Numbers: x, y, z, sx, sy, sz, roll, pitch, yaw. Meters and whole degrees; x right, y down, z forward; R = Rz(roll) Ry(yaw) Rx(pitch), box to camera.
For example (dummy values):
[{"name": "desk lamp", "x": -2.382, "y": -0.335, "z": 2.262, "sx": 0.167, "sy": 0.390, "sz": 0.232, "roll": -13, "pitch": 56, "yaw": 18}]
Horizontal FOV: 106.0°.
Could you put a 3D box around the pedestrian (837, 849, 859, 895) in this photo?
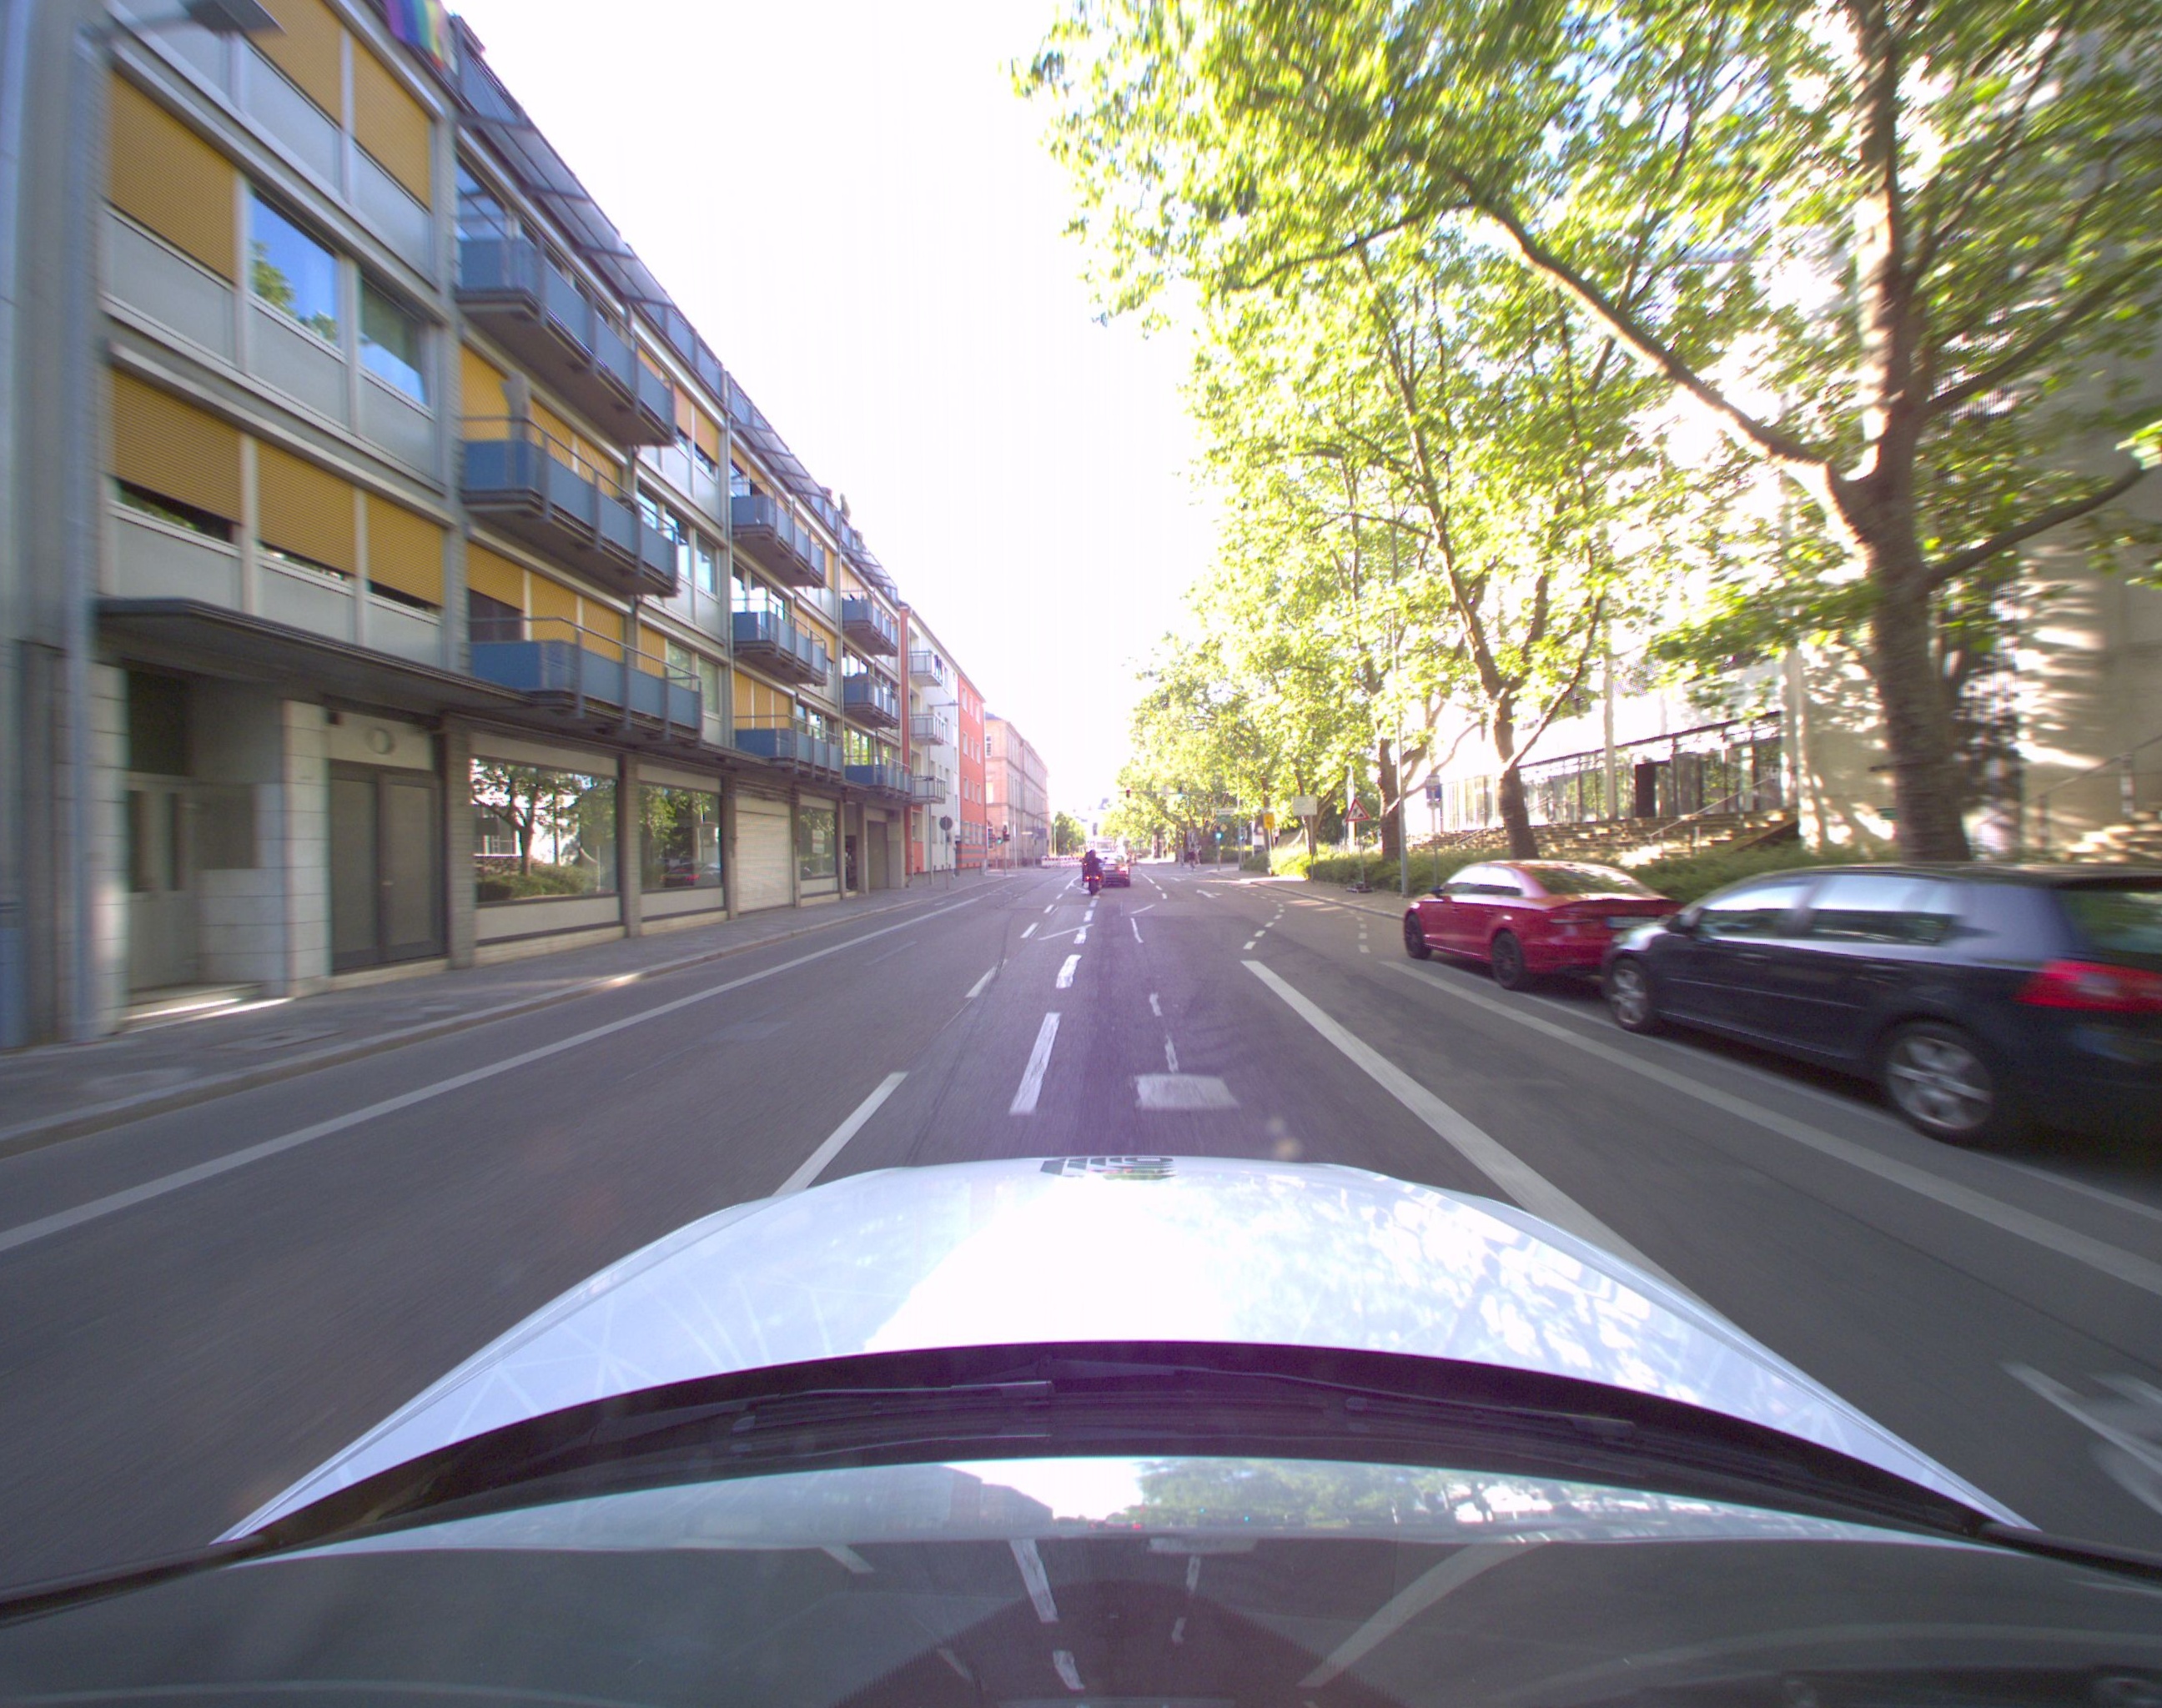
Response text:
[{"name": "pedestrian", "x": -8.190, "y": 0.618, "z": 28.650, "sx": 0.511, "sy": 1.579, "sz": 0.756, "roll": -1, "pitch": 0, "yaw": 1}]

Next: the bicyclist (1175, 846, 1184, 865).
[{"name": "bicyclist", "x": 8.100, "y": 0.117, "z": 66.923, "sx": 0.653, "sy": 1.530, "sz": 0.906, "roll": 0, "pitch": 0, "yaw": 1}]

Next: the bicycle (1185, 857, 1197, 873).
[{"name": "bicycle", "x": 7.783, "y": 0.782, "z": 57.769, "sx": 0.653, "sy": 1.070, "sz": 1.927, "roll": 0, "pitch": 0, "yaw": 2}]

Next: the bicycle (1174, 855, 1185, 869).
[{"name": "bicycle", "x": 8.102, "y": 0.665, "z": 67.011, "sx": 0.653, "sy": 1.111, "sz": 2.186, "roll": 0, "pitch": 0, "yaw": 2}]

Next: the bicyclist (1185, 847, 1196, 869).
[{"name": "bicyclist", "x": 7.774, "y": 0.300, "z": 57.756, "sx": 0.653, "sy": 1.530, "sz": 0.852, "roll": 0, "pitch": -1, "yaw": 1}]

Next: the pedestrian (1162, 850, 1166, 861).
[{"name": "pedestrian", "x": 12.086, "y": 0.193, "z": 118.906, "sx": 0.590, "sy": 1.578, "sz": 0.527, "roll": 0, "pitch": -1, "yaw": 2}]

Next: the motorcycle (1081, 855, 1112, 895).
[{"name": "motorcycle", "x": 0.570, "y": 0.705, "z": 28.703, "sx": 1.008, "sy": 1.306, "sz": 2.673, "roll": -1, "pitch": 0, "yaw": 1}]

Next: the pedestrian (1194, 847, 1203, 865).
[{"name": "pedestrian", "x": 11.446, "y": 0.198, "z": 79.216, "sx": 0.573, "sy": 1.774, "sz": 0.620, "roll": 0, "pitch": -1, "yaw": -25}]

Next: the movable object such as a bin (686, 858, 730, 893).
[{"name": "movable object such as a bin", "x": -15.676, "y": 0.893, "z": 34.273, "sx": 1.313, "sy": 1.414, "sz": 1.080, "roll": -1, "pitch": 0, "yaw": 1}]

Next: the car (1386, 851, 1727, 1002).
[{"name": "car", "x": 5.499, "y": 0.705, "z": 10.202, "sx": 1.687, "sy": 1.449, "sz": 4.435, "roll": 1, "pitch": 0, "yaw": 0}]

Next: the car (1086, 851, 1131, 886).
[{"name": "car", "x": 1.171, "y": 0.578, "z": 34.994, "sx": 1.822, "sy": 1.420, "sz": 3.816, "roll": -1, "pitch": 0, "yaw": 1}]

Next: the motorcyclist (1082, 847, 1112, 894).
[{"name": "motorcyclist", "x": 0.572, "y": 0.562, "z": 28.788, "sx": 1.008, "sy": 1.602, "sz": 1.406, "roll": -1, "pitch": 0, "yaw": 1}]

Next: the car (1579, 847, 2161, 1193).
[{"name": "car", "x": 5.343, "y": 0.709, "z": 5.467, "sx": 1.686, "sy": 1.466, "sz": 4.069, "roll": 1, "pitch": 0, "yaw": 3}]

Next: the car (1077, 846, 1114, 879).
[{"name": "car", "x": 0.736, "y": 0.458, "z": 42.824, "sx": 1.627, "sy": 1.650, "sz": 3.845, "roll": 0, "pitch": 0, "yaw": -4}]

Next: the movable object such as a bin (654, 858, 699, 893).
[{"name": "movable object such as a bin", "x": -16.989, "y": 0.888, "z": 34.252, "sx": 1.313, "sy": 1.414, "sz": 1.080, "roll": -1, "pitch": 0, "yaw": 1}]
